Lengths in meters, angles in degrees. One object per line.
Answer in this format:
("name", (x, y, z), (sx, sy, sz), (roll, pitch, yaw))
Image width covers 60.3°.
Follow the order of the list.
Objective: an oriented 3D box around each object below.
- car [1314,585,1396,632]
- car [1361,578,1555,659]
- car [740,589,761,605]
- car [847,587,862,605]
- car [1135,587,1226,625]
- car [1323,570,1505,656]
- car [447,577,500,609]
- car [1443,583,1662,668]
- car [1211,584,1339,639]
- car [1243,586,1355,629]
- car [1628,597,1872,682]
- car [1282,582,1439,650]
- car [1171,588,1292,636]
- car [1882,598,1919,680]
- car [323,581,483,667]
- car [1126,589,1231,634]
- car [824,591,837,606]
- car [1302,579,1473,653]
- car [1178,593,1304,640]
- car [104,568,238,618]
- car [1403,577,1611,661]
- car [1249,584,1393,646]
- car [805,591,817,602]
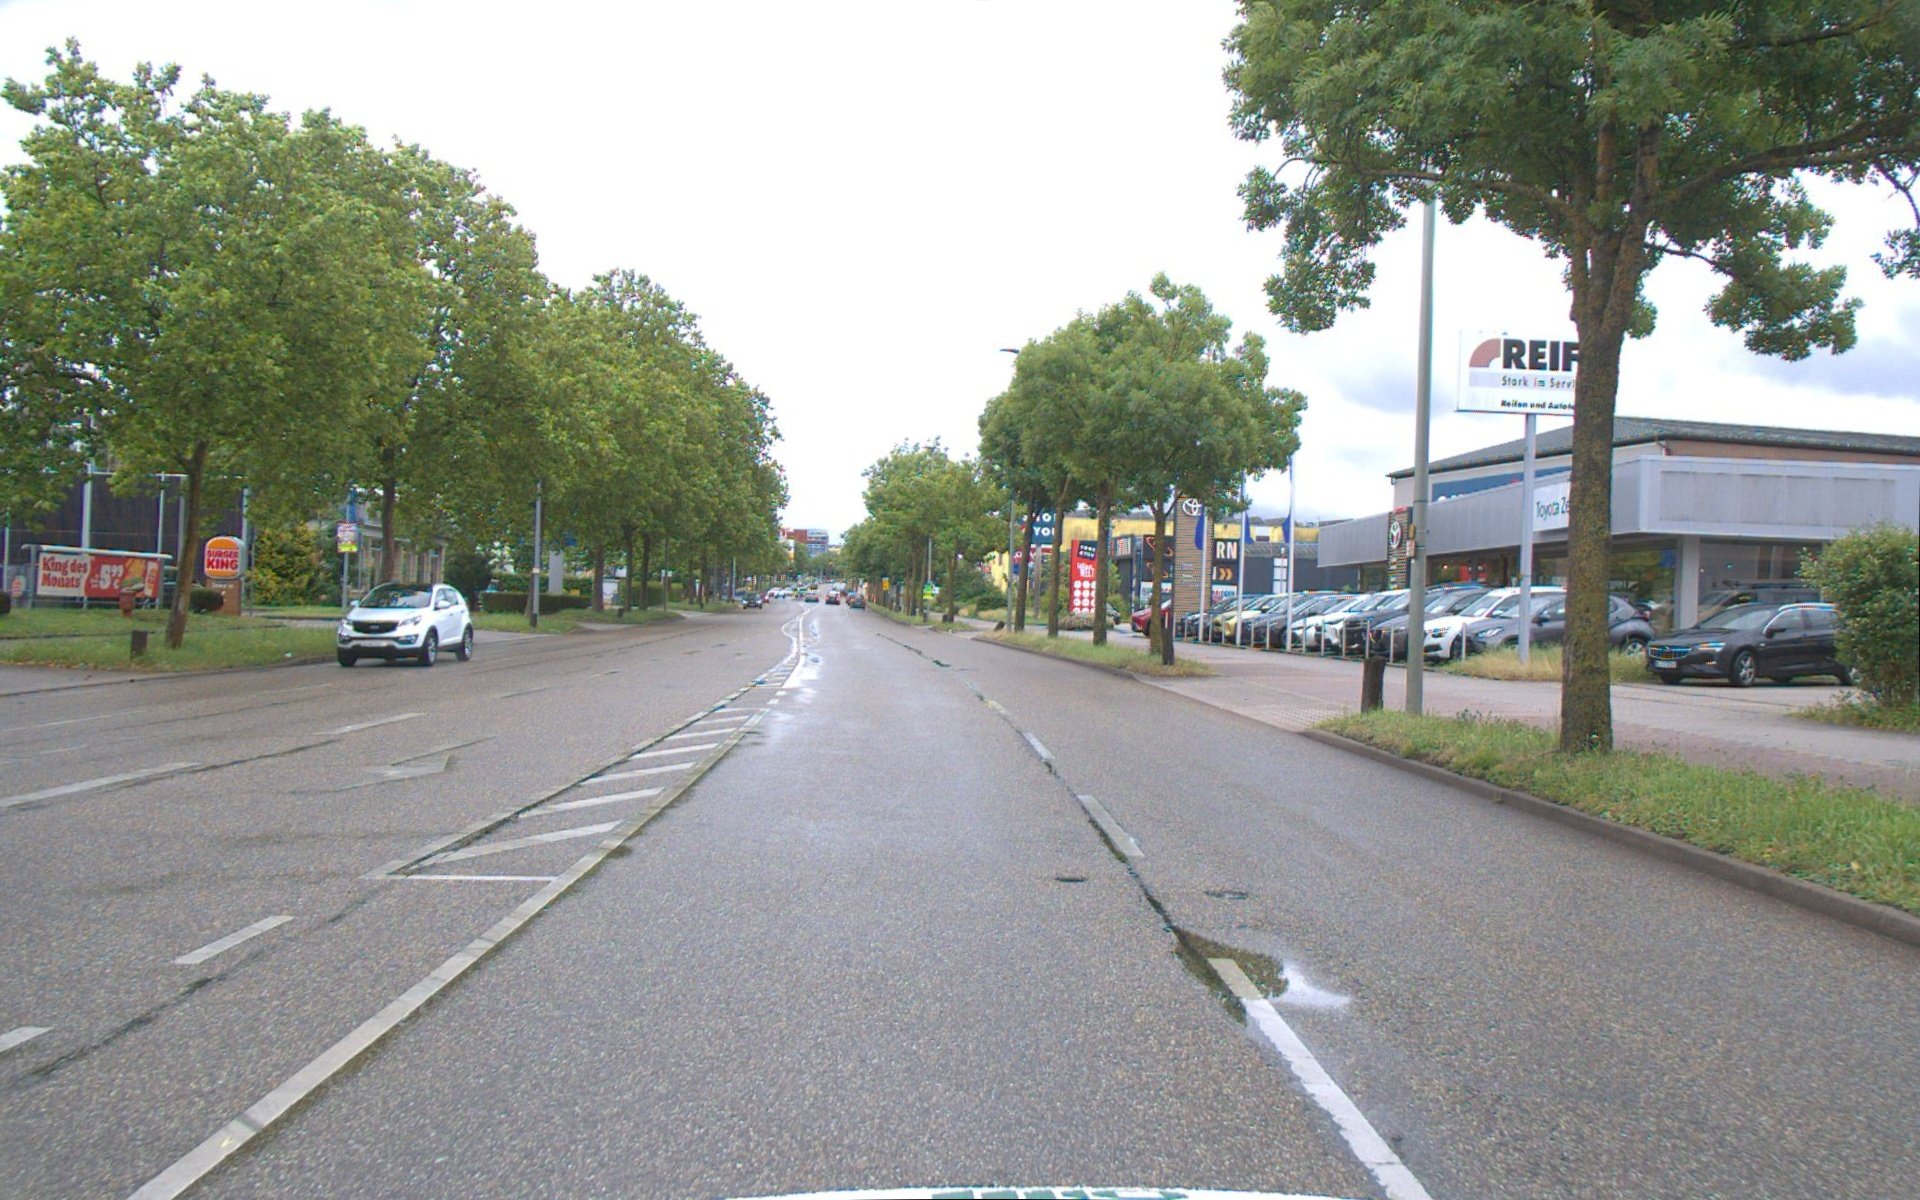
("car", (14.537, 0.303, 61.060), (1.837, 1.650, 4.120), (0, 0, -3))
("car", (11.575, 0.419, 38.580), (3.907, 1.612, 1.811), (-3, 0, -2))
("car", (-19.506, -0.256, 154.215), (1.768, 1.488, 3.843), (0, 0, -4))
("car", (-12.058, -0.468, 189.454), (1.710, 2.049, 3.997), (1, 0, -3))
("car", (12.470, 0.356, 93.561), (4.739, 2.049, 1.983), (1, -1, -14))
("car", (11.144, 0.308, 40.761), (3.907, 1.817, 1.811), (-3, 0, -2))
("car", (-24.018, -0.351, 81.747), (1.788, 1.512, 3.935), (1, 0, -6))
("car", (12.053, 0.495, 33.777), (3.758, 1.487, 1.826), (-3, 0, -5))
("car", (10.291, 0.380, 54.184), (3.766, 1.593, 1.664), (-3, 0, -7))
("car", (13.269, 0.286, 64.873), (4.025, 1.650, 1.880), (-1, 0, 0))
("car", (14.303, 0.698, 30.074), (3.605, 1.489, 1.793), (0, 0, -4))
("car", (11.098, 0.441, 46.019), (3.907, 1.818, 1.811), (1, 0, -2))
("car", (9.581, 0.423, 58.534), (3.908, 1.676, 1.843), (0, 0, -4))
("car", (20.225, 0.758, 31.216), (4.559, 1.524, 1.999), (1, 0, -2))
("car", (-11.520, 0.490, 34.531), (1.889, 1.648, 4.397), (1, 0, -1))
("car", (8.521, 0.449, 64.639), (3.765, 1.632, 1.794), (-1, 0, -4))
("car", (-18.241, -0.167, 232.932), (1.710, 2.049, 3.997), (1, 0, -3))
("car", (11.221, 0.393, 43.528), (3.910, 1.615, 1.810), (-4, 1, -6))
("car", (9.568, 0.553, 56.462), (3.908, 1.565, 1.798), (1, 0, -4))
("car", (-22.223, -0.197, 46.637), (3.109, 1.175, 1.291), (4, 0, 4))
("car", (11.963, 0.406, 36.343), (3.907, 1.570, 1.811), (-3, 0, -2))
("car", (10.797, 0.442, 49.659), (3.907, 1.818, 1.811), (1, 0, -2))
("car", (-23.002, -0.533, 256.080), (1.710, 1.730, 3.997), (1, 0, -3))
